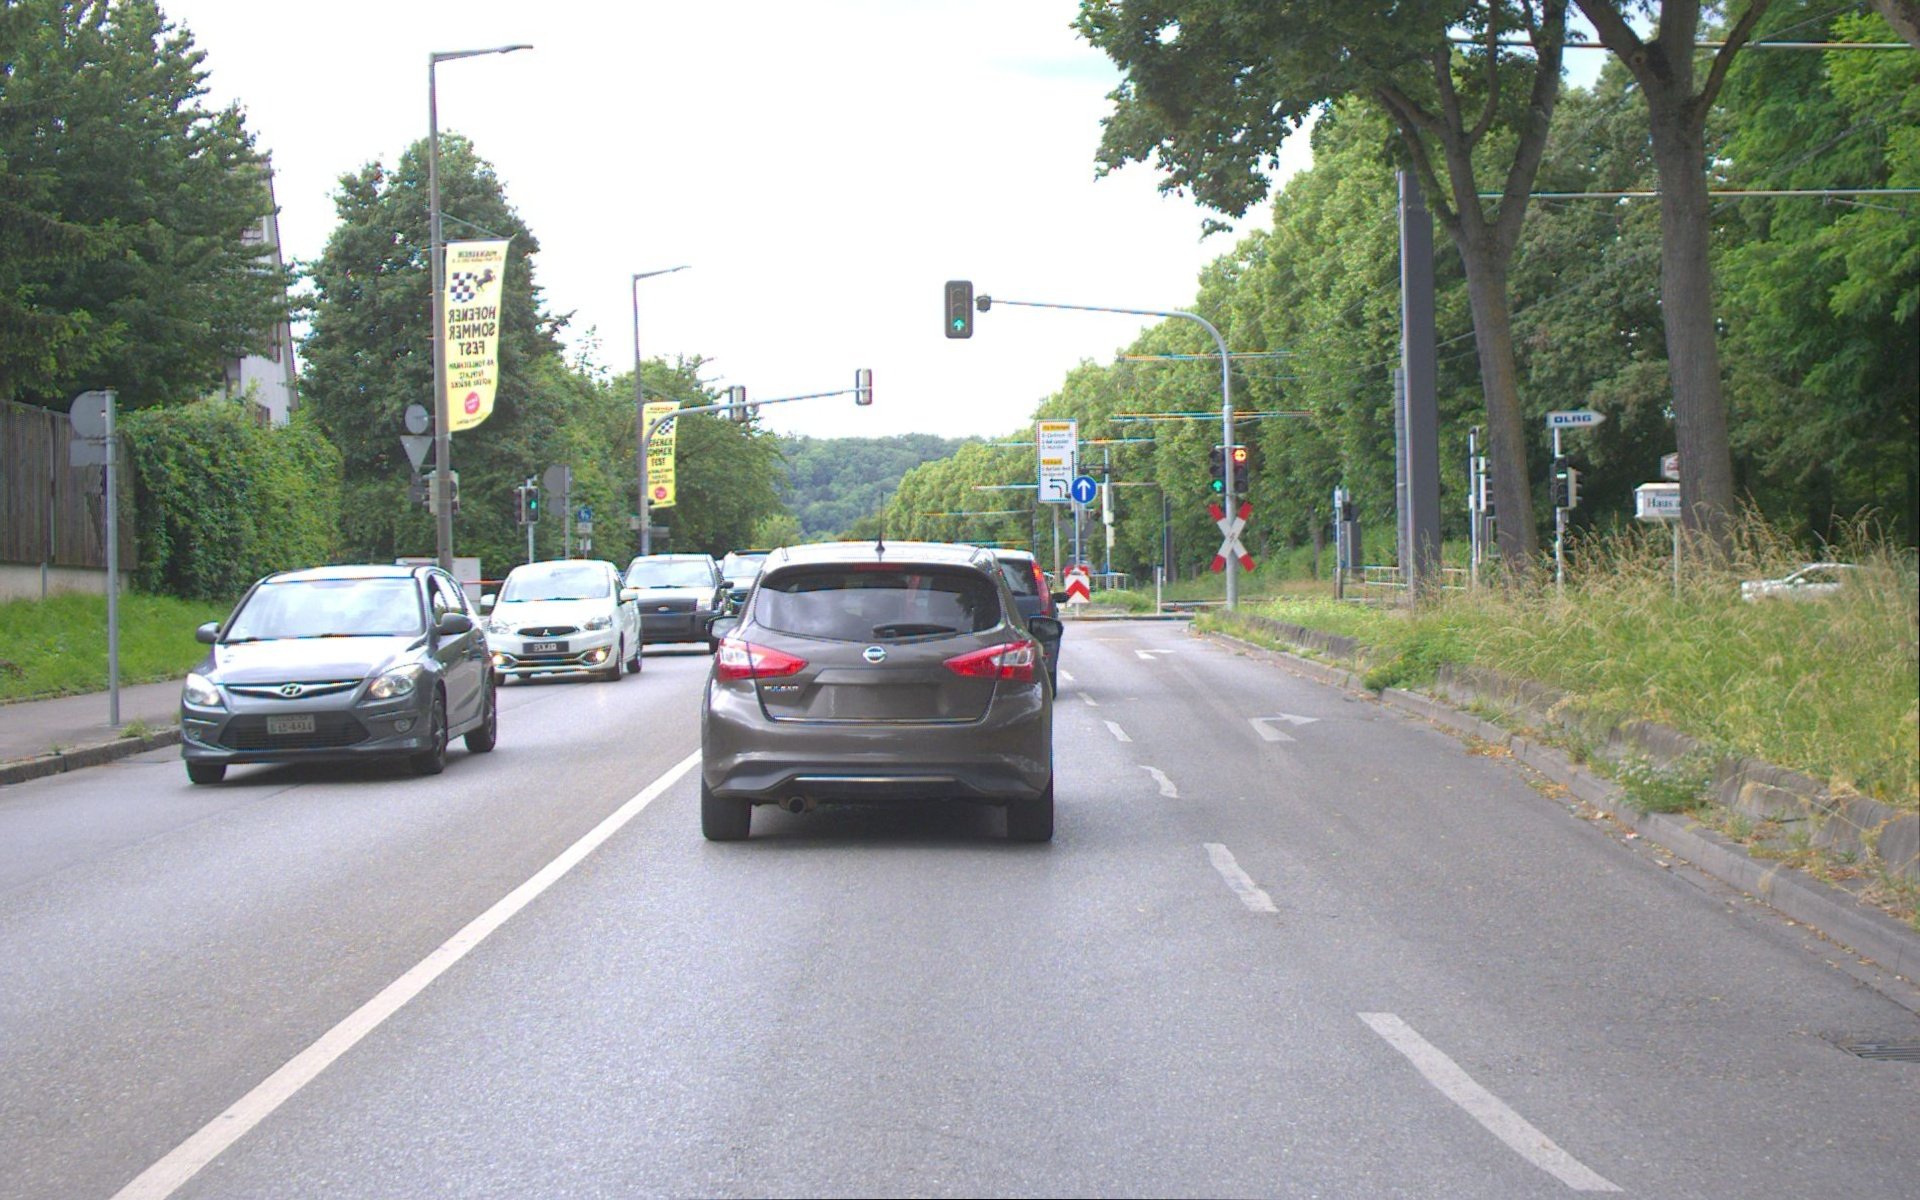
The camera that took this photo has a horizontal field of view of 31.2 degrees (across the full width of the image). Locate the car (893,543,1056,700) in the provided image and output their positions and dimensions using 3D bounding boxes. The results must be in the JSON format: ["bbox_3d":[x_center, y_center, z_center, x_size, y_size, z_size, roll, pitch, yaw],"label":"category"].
[{"bbox_3d":[0.149,0.179,34.802,1.538,1.473,3.764,-1,1,0],"label":"car"}]

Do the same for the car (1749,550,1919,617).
[{"bbox_3d":[20.585,-0.375,79.678,3.986,1.349,2.000,3,1,-5],"label":"car"}]

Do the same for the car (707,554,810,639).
[{"bbox_3d":[-3.883,-0.100,66.769,1.812,1.519,4.177,-2,1,-1],"label":"car"}]

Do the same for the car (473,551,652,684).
[{"bbox_3d":[-4.909,0.180,42.903,1.618,1.456,4.072,-4,1,1],"label":"car"}]

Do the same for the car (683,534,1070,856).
[{"bbox_3d":[-0.388,0.413,18.689,1.835,1.514,4.483,1,1,0],"label":"car"}]

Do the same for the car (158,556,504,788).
[{"bbox_3d":[-4.487,0.457,25.086,1.728,1.459,4.154,-2,1,0],"label":"car"}]

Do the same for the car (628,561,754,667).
[{"bbox_3d":[-4.103,0.185,52.885,1.643,1.476,4.107,-3,1,-1],"label":"car"}]
